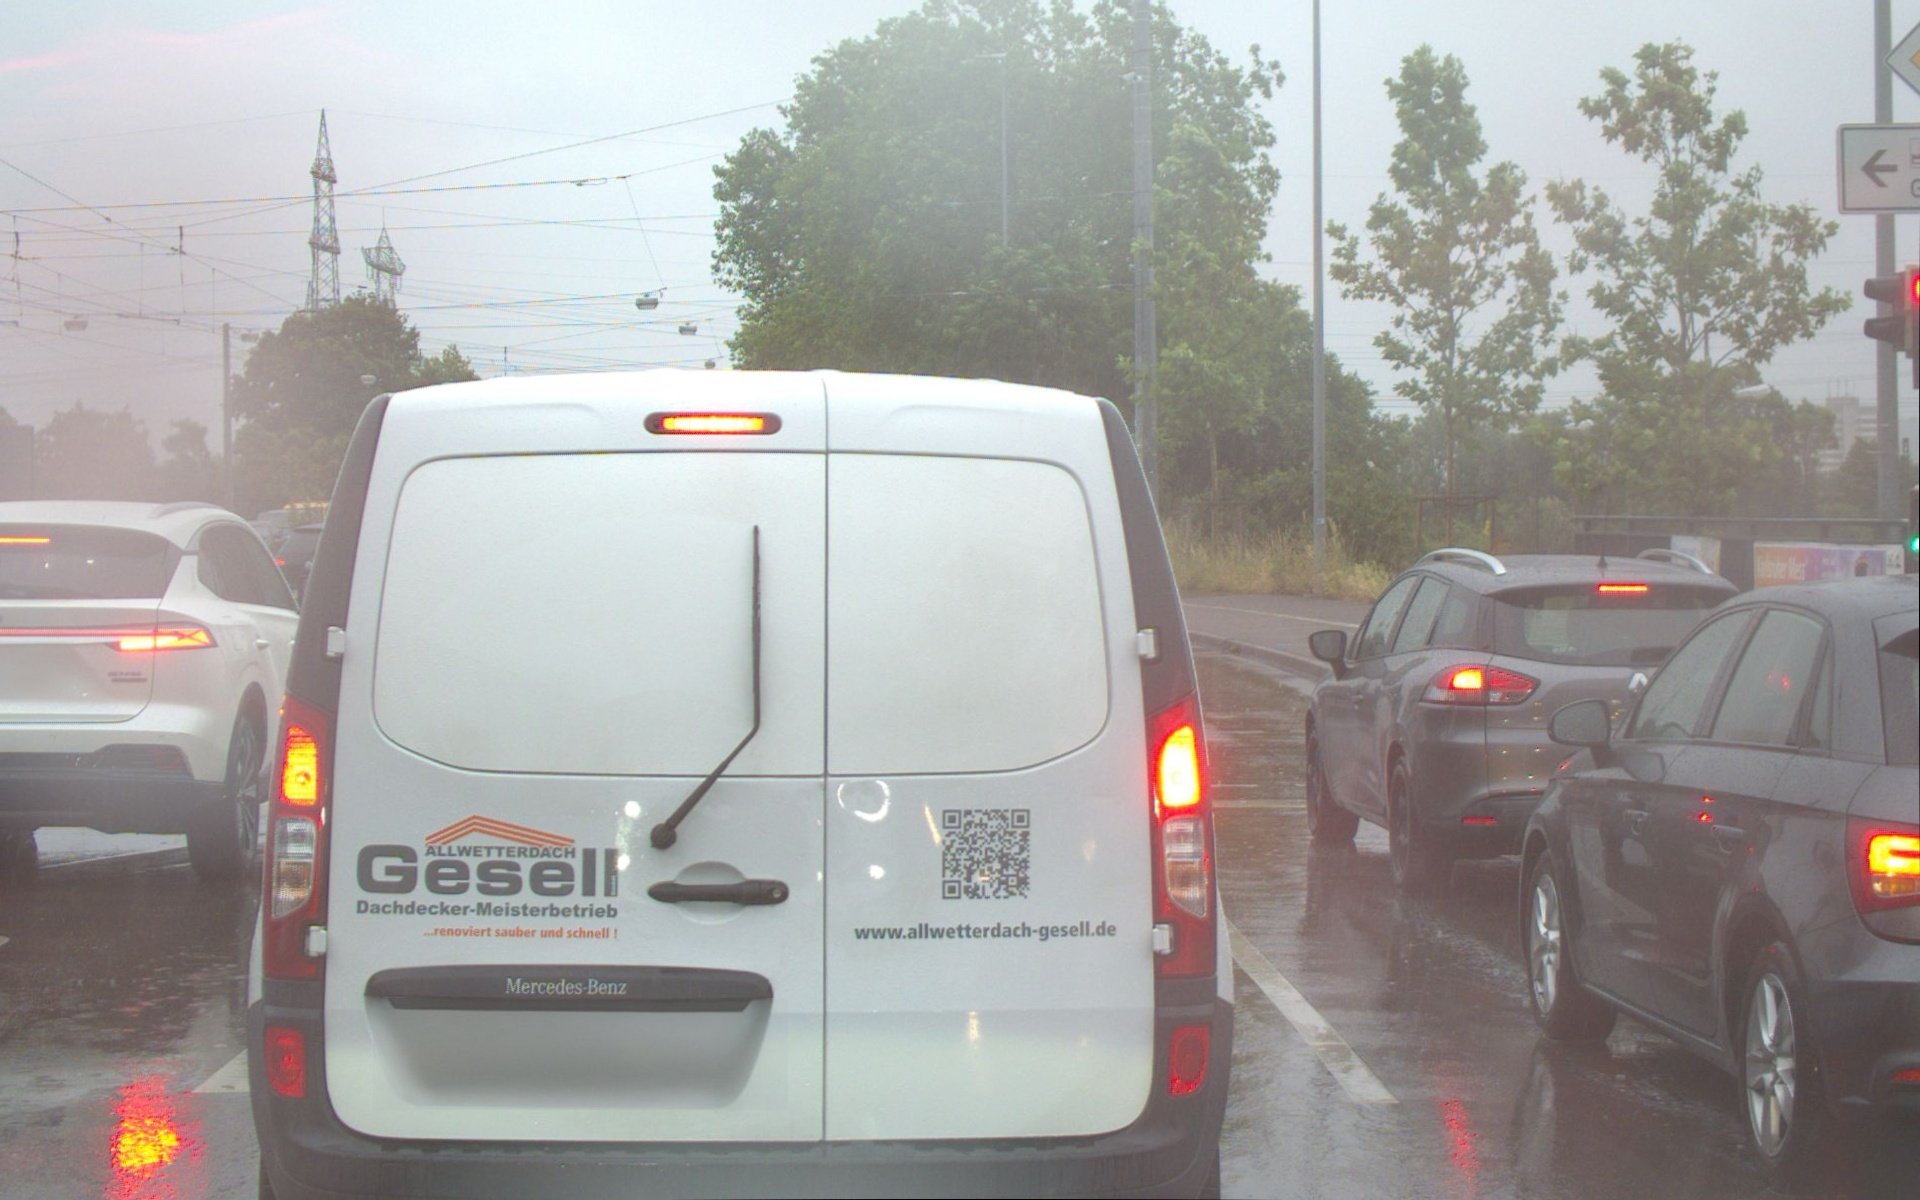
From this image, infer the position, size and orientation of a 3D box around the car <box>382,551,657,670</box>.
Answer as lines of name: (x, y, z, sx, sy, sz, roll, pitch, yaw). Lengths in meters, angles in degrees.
car: (-5.533, 0.118, 43.599, 1.507, 1.417, 3.860, 1, 1, 28)

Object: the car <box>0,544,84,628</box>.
car: (-21.328, -0.336, 77.442, 1.929, 1.820, 3.999, 1, 1, 4)

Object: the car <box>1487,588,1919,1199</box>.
car: (2.520, 0.665, 8.934, 1.629, 1.340, 3.624, 1, 1, -2)

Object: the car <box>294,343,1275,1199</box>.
car: (-0.303, 0.458, 7.517, 1.566, 1.782, 4.000, 0, 1, -1)

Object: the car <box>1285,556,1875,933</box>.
car: (2.643, 0.551, 15.548, 1.859, 1.424, 3.808, 1, 1, -2)

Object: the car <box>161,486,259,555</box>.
car: (-22.669, -2.389, 104.046, 1.993, 2.007, 4.000, 1, 1, 1)

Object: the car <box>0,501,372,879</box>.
car: (-3.945, 0.308, 16.147, 1.728, 1.530, 4.298, 1, 1, -2)
